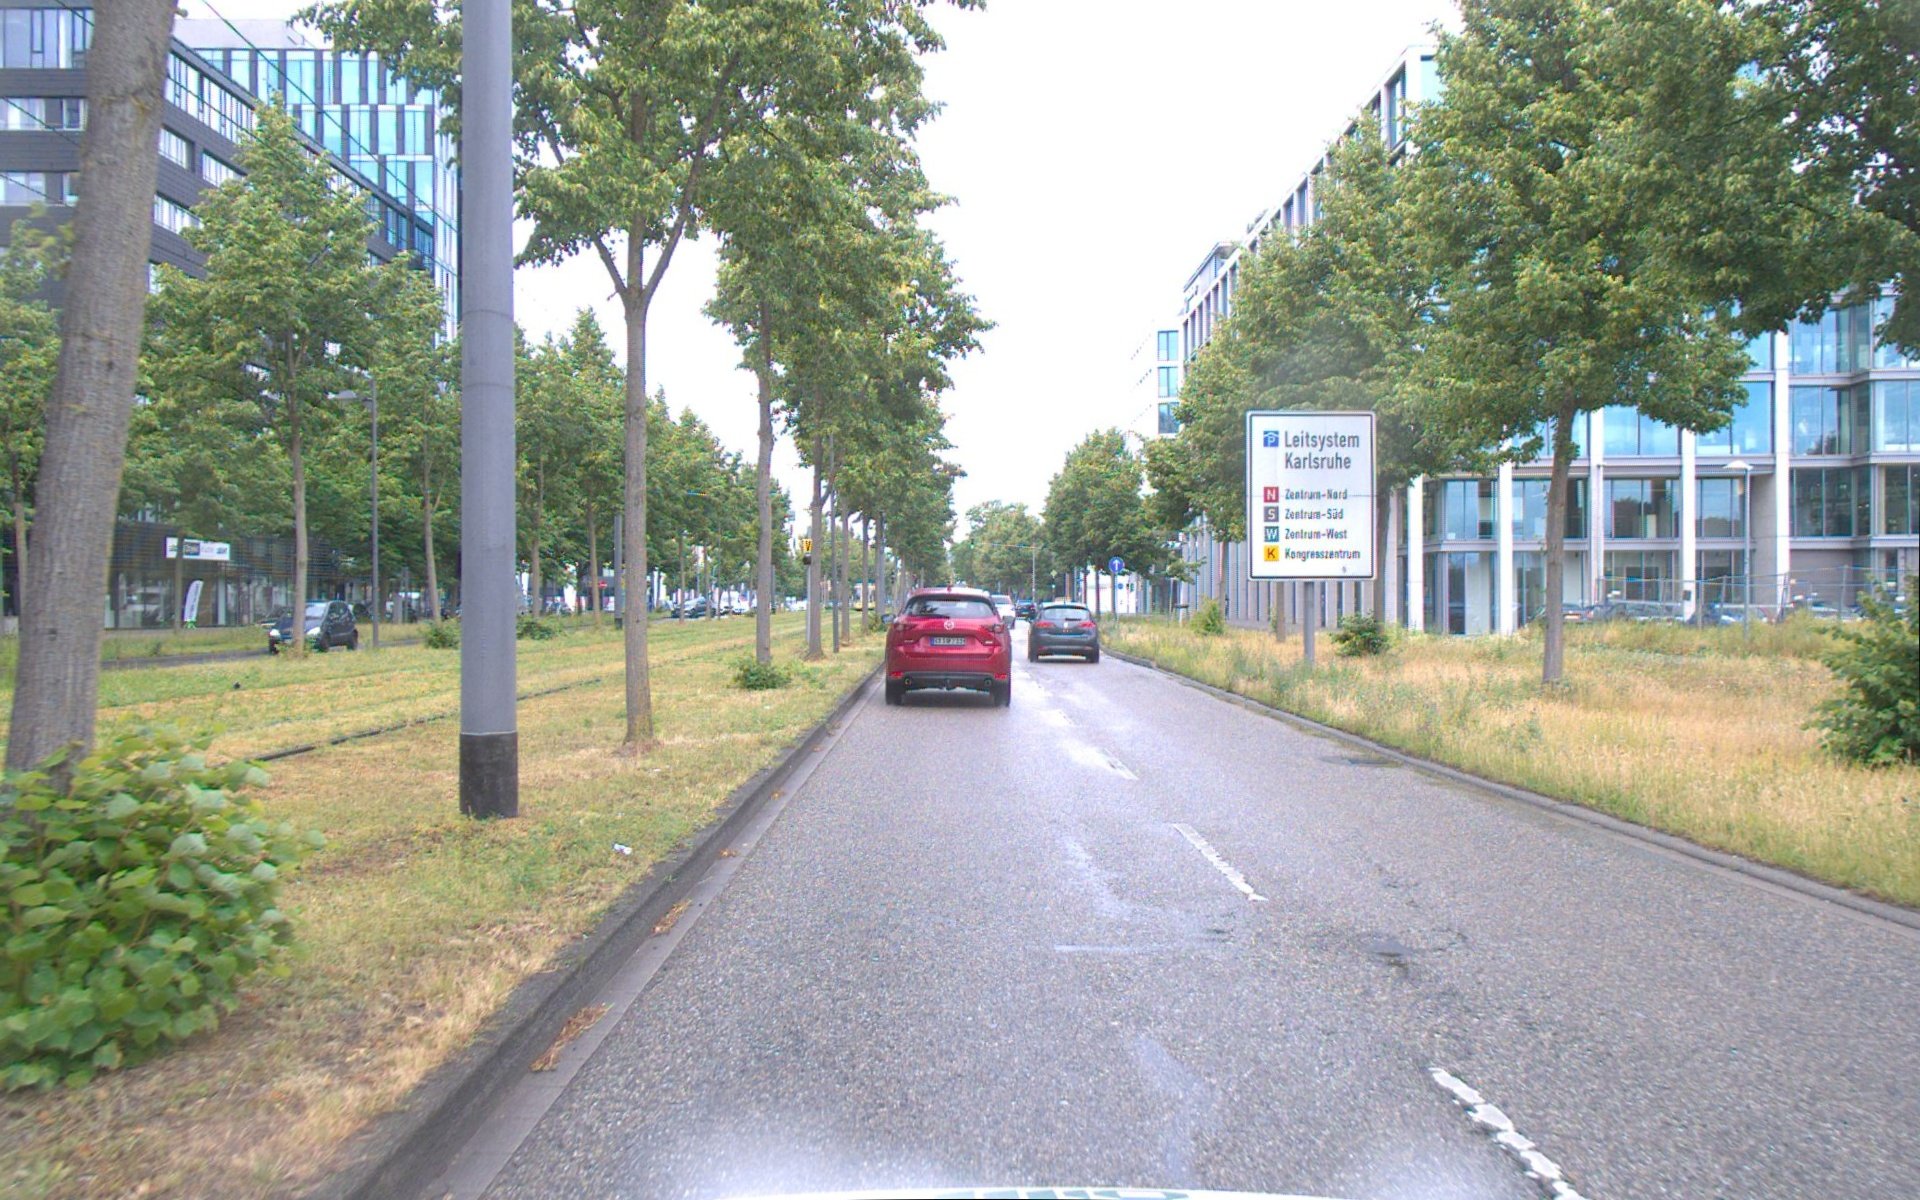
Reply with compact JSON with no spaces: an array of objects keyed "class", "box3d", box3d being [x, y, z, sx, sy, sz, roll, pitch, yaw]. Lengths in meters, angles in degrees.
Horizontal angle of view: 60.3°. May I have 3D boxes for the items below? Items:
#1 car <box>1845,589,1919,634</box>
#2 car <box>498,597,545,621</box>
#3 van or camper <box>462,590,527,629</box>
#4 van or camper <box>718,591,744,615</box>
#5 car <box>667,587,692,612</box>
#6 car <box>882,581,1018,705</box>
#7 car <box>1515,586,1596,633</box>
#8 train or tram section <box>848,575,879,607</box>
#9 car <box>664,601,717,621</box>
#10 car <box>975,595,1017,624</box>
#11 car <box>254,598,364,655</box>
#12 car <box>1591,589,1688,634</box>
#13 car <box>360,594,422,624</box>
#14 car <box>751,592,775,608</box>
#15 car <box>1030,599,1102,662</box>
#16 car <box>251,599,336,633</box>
[{"class":"car","box3d":[32.274,0.367,56.825,1.748,1.500,4.232,0,0,5]},{"class":"car","box3d":[-28.725,0.583,108.505,1.953,1.548,4.605,0,0,-2]},{"class":"van or camper","box3d":[-28.712,0.579,102.151,2.383,2.356,5.849,0,0,-1]},{"class":"van or camper","box3d":[-23.071,0.291,166.926,1.870,2.453,5.402,0,0,0]},{"class":"car","box3d":[-29.746,-0.054,175.739,2.211,2.606,4.650,0,0,-5]},{"class":"car","box3d":[-0.179,0.588,24.786,1.860,1.706,3.999,0,0,-1]},{"class":"car","box3d":[20.948,0.319,58.285,1.815,1.608,4.003,0,0,6]},{"class":"train or tram section","box3d":[-11.548,-1.096,198.051,3.065,3.723,13.404,0,0,-1]},{"class":"car","box3d":[-21.733,0.865,133.417,1.954,1.548,4.678,0,0,25]},{"class":"car","box3d":[1.853,0.472,86.147,1.928,1.462,4.551,1,0,-2]},{"class":"car","box3d":[-20.107,0.791,51.267,1.953,1.685,3.699,0,0,0]},{"class":"car","box3d":[23.666,0.382,57.772,1.816,1.480,4.559,0,0,5]},{"class":"car","box3d":[-28.155,0.430,81.949,1.667,1.475,4.241,0,0,-1]},{"class":"car","box3d":[-19.084,-0.033,160.306,1.825,1.551,4.478,0,0,0]},{"class":"car","box3d":[2.655,0.726,41.561,1.707,1.490,3.783,0,0,4]},{"class":"car","box3d":[-27.909,0.652,69.368,1.953,1.402,3.999,0,0,-1]}]
